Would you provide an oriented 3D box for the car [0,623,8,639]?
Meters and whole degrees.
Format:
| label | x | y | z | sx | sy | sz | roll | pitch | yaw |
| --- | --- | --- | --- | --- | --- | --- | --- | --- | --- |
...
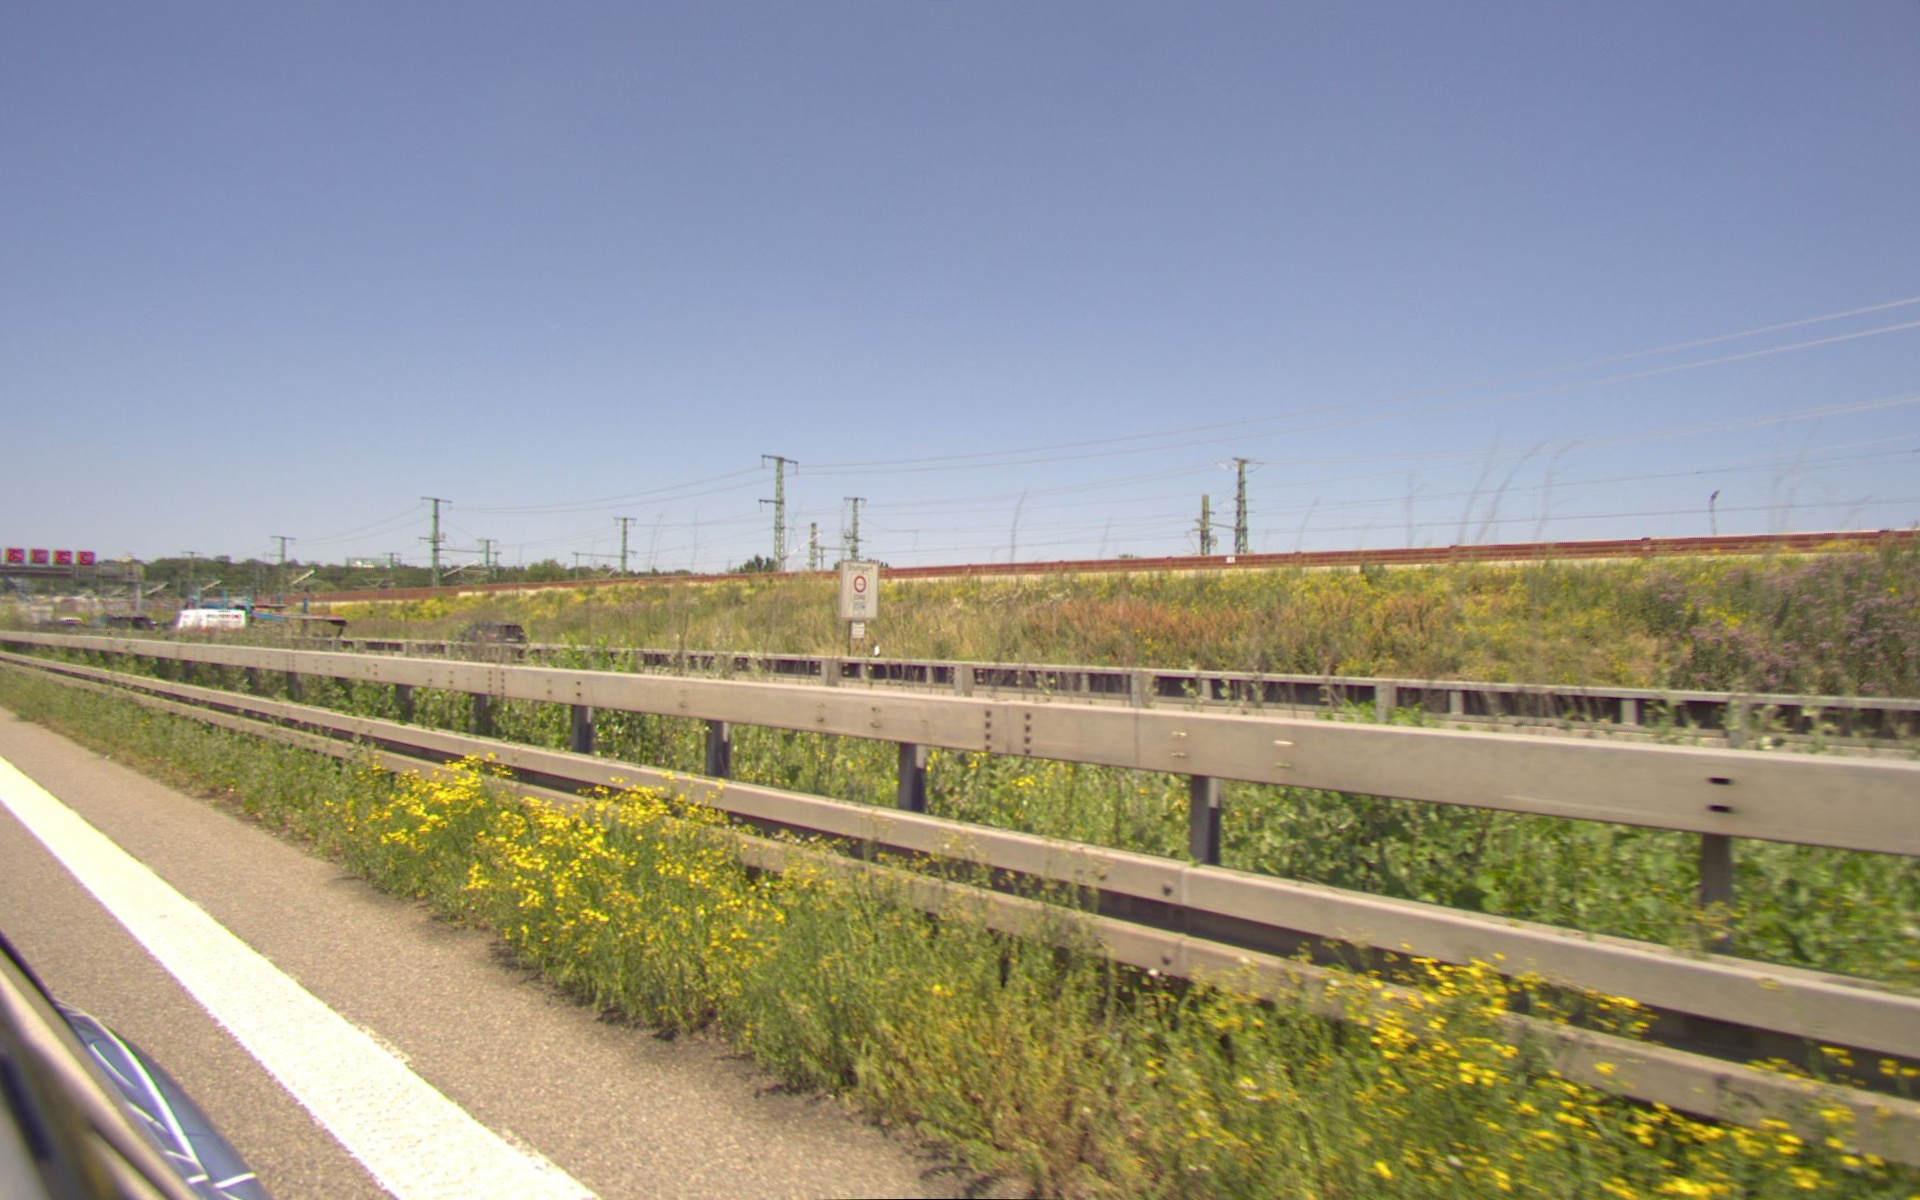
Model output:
| label | x | y | z | sx | sy | sz | roll | pitch | yaw |
| --- | --- | --- | --- | --- | --- | --- | --- | --- | --- |
| car | -97.283 | 3.075 | 101.558 | 5.392 | 1.623 | 1.900 | -1 | -3 | 40 |

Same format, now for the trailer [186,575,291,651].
| label | x | y | z | sx | sy | sz | roll | pitch | yaw |
| --- | --- | --- | --- | --- | --- | --- | --- | --- | --- |
| trailer | -39.503 | 0.755 | 55.332 | 7.199 | 3.897 | 3.019 | -1 | -2 | 41 |

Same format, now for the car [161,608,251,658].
| label | x | y | z | sx | sy | sz | roll | pitch | yaw |
| --- | --- | --- | --- | --- | --- | --- | --- | --- | --- |
| car | -32.626 | 1.390 | 43.742 | 5.429 | 2.029 | 1.973 | -1 | -1 | 41 |

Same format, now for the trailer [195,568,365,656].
| label | x | y | z | sx | sy | sz | roll | pitch | yaw |
| --- | --- | --- | --- | --- | --- | --- | --- | --- | --- |
| trailer | -34.630 | 0.651 | 51.053 | 15.968 | 3.897 | 3.019 | -1 | -2 | 41 |

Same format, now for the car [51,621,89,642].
| label | x | y | z | sx | sy | sz | roll | pitch | yaw |
| --- | --- | --- | --- | --- | --- | --- | --- | --- | --- |
| car | -81.778 | 2.894 | 92.991 | 5.194 | 1.814 | 1.900 | -1 | -3 | 41 |

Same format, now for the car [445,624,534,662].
| label | x | y | z | sx | sy | sz | roll | pitch | yaw |
| --- | --- | --- | --- | --- | --- | --- | --- | --- | --- |
| car | -20.292 | 1.806 | 43.575 | 4.236 | 1.526 | 1.897 | -1 | -2 | 41 |

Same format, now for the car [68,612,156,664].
| label | x | y | z | sx | sy | sz | roll | pitch | yaw |
| --- | --- | --- | --- | --- | --- | --- | --- | --- | --- |
| car | -32.547 | 1.417 | 38.809 | 3.998 | 1.863 | 1.972 | -1 | -2 | 41 |

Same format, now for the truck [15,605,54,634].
| label | x | y | z | sx | sy | sz | roll | pitch | yaw |
| --- | --- | --- | --- | --- | --- | --- | --- | --- | --- |
| truck | -117.993 | 2.525 | 128.938 | 7.777 | 3.493 | 2.828 | -1 | 0 | 41 |
